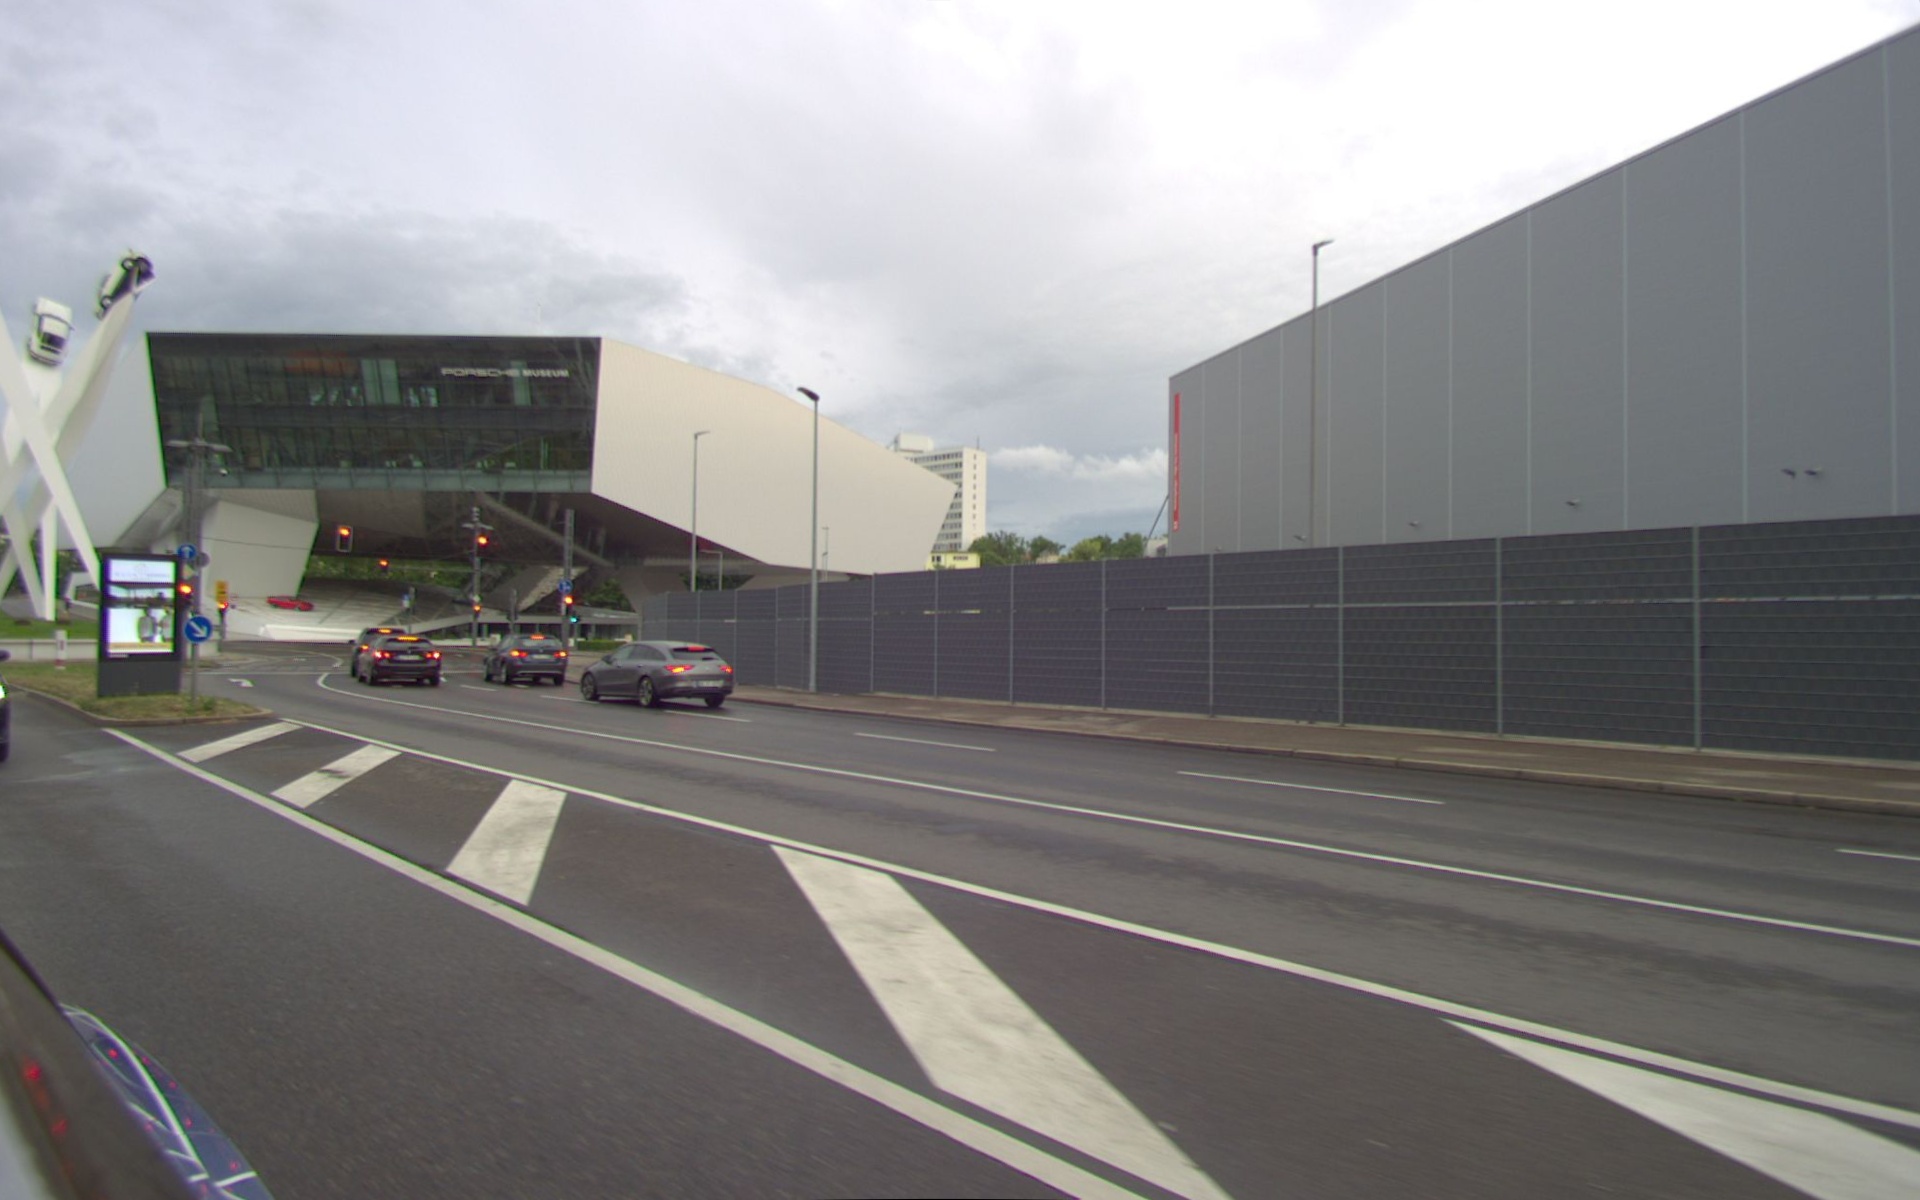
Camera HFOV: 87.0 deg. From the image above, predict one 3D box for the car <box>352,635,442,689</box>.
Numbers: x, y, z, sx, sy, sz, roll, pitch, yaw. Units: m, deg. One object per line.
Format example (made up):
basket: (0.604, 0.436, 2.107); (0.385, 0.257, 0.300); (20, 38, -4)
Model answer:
car: (-16.468, 1.737, 29.492); (1.759, 1.451, 4.406); (2, -2, -36)

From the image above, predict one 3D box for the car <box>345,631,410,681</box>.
car: (-20.197, 1.886, 35.008); (1.758, 1.600, 4.579); (1, -2, -32)

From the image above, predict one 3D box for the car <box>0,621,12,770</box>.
car: (-12.026, 1.017, 11.158); (4.390, 1.530, 1.735); (-2, -2, 39)

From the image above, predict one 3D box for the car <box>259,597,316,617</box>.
car: (-67.085, 0.695, 100.975); (4.187, 1.394, 2.000); (8, -1, 0)

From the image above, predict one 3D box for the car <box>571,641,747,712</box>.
car: (-6.793, 1.660, 22.584); (4.548, 1.396, 1.762); (-2, -5, 45)

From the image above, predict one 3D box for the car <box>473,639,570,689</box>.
car: (-13.856, 1.978, 31.861); (1.759, 1.465, 4.571); (3, -4, -37)
